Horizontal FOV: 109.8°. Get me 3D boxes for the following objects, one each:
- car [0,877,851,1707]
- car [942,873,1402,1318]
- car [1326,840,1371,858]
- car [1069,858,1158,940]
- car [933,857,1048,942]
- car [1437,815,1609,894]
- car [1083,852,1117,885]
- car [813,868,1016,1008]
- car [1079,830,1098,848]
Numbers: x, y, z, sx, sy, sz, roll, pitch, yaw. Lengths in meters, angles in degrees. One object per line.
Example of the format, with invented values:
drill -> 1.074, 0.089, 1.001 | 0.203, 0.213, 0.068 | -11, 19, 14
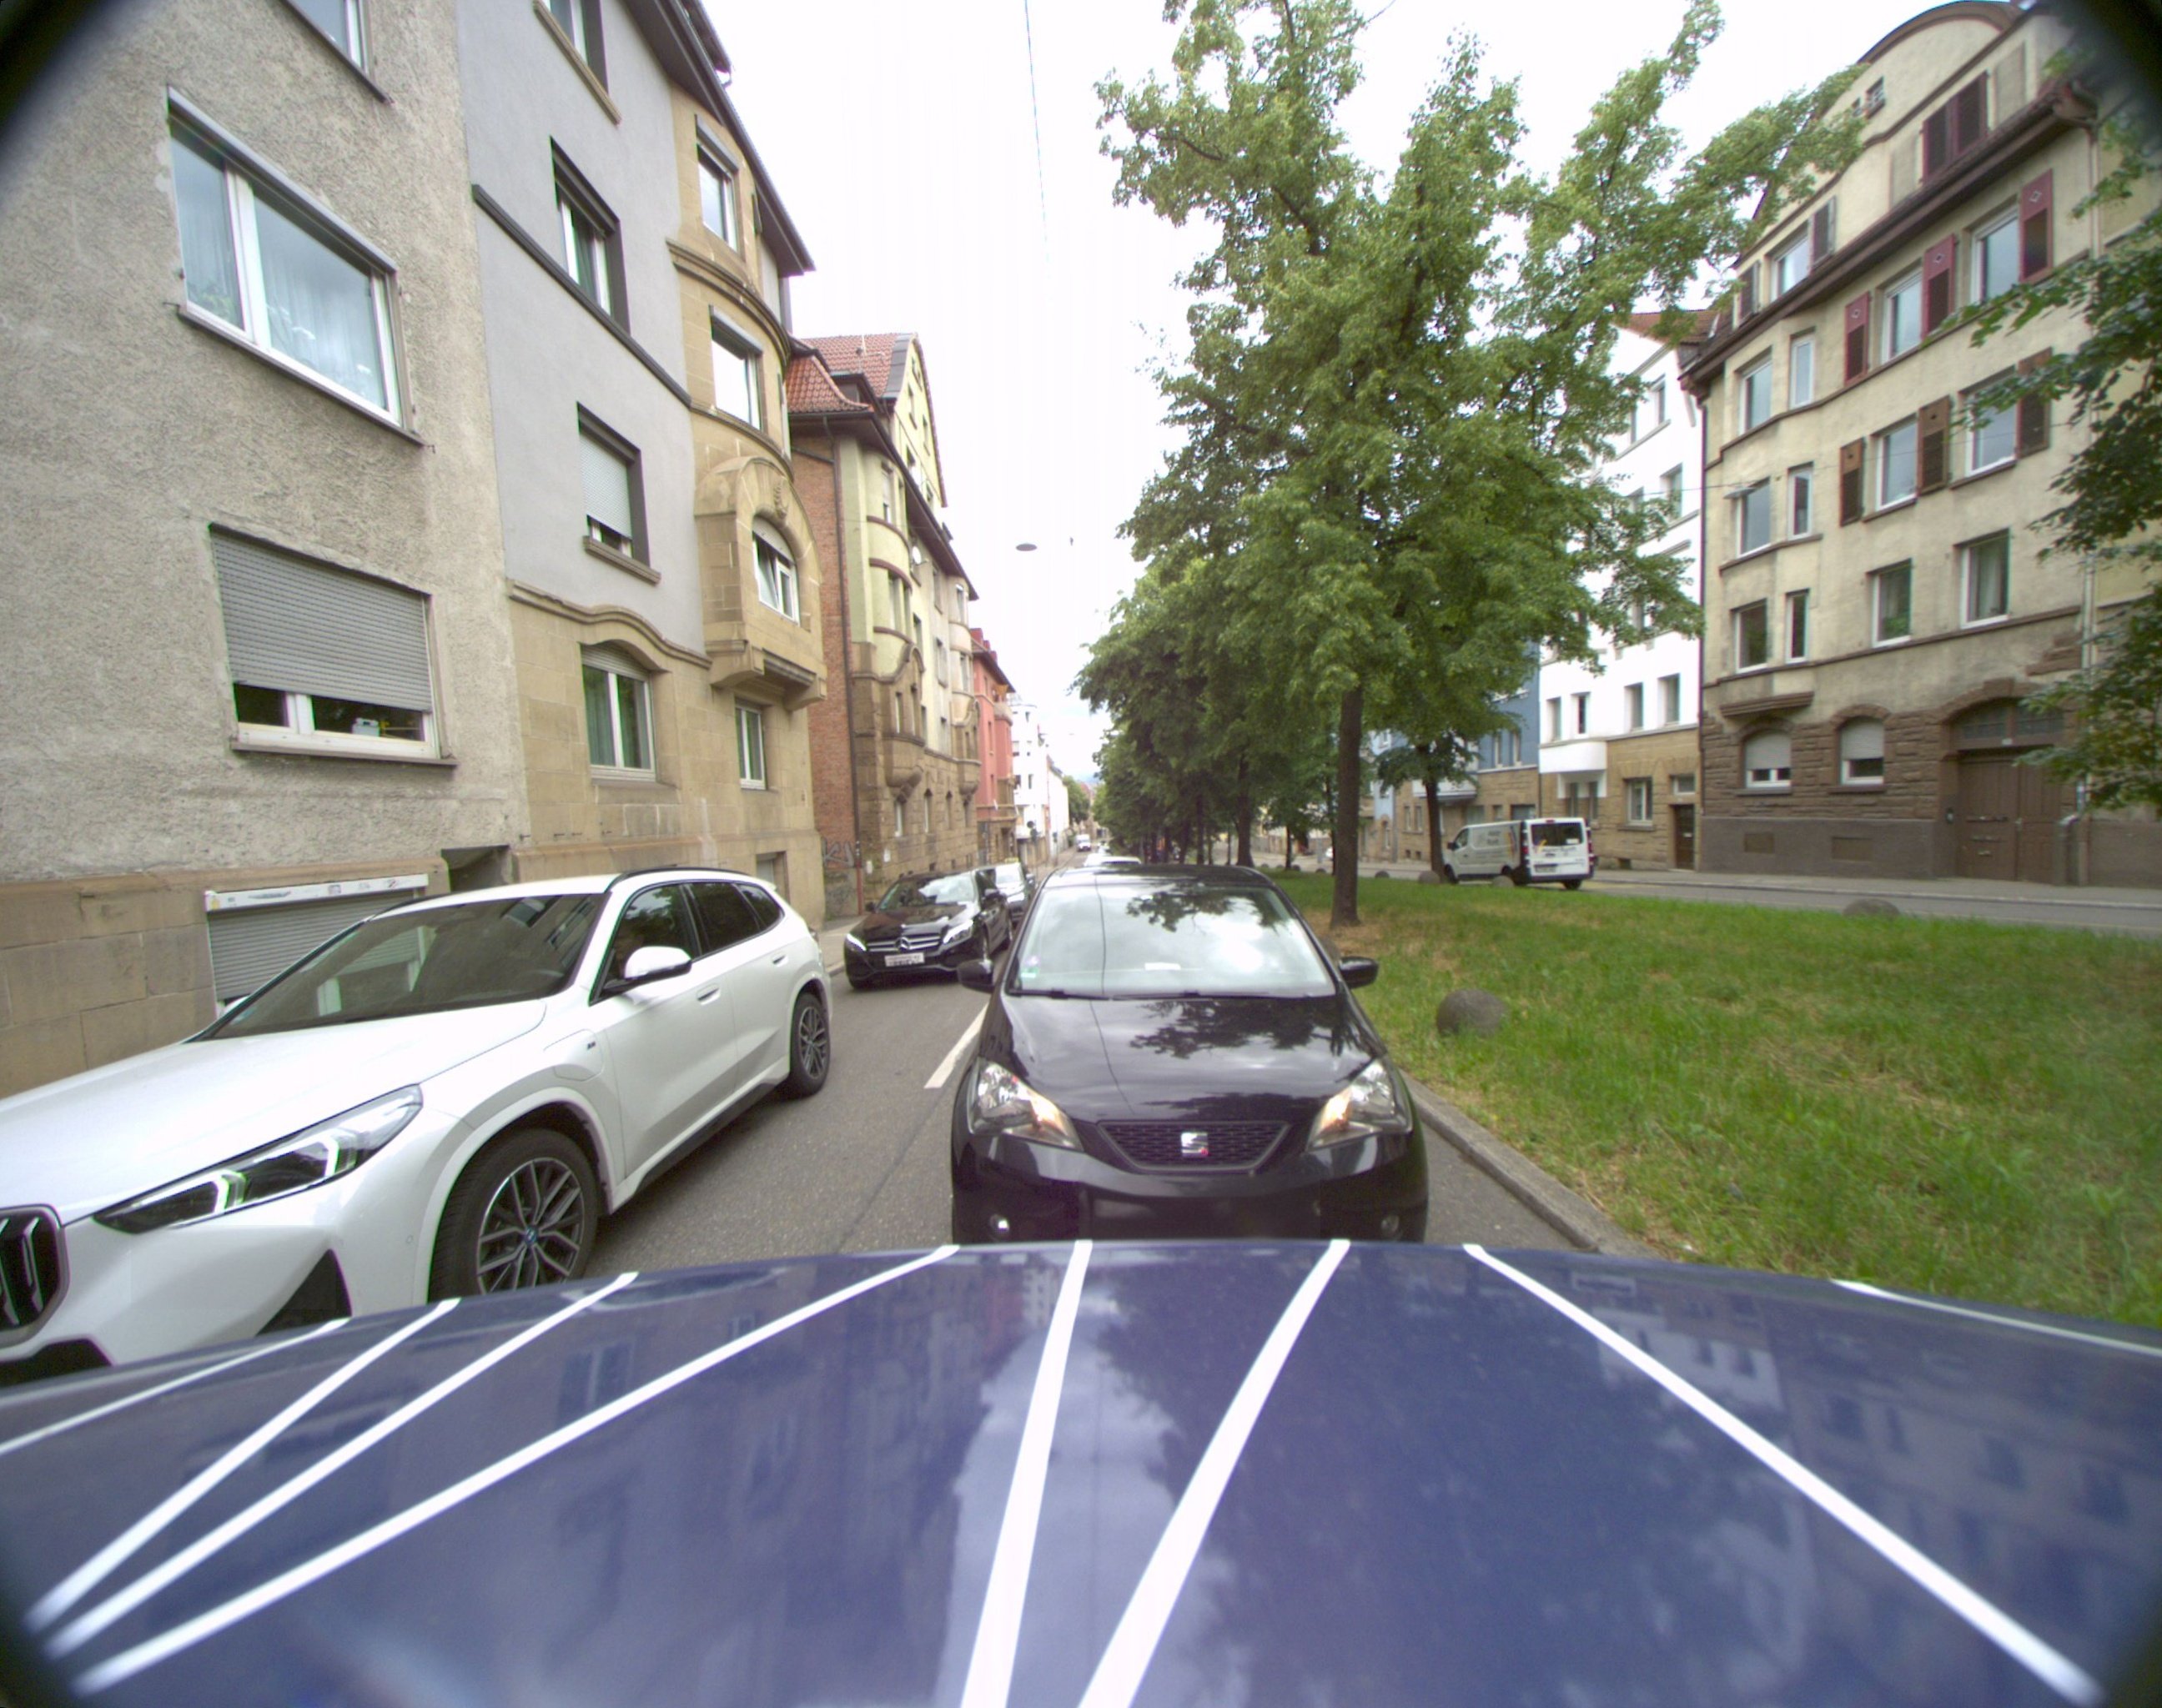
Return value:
car -> -2.800, 1.073, 3.716 | 1.859, 1.547, 4.350 | -6, 1, 0
car -> 0.344, 0.899, 4.329 | 1.611, 1.457, 3.296 | 0, 1, 1
car -> 22.199, -0.441, 63.104 | 3.291, 1.323, 1.672 | -2, 1, 10
car -> 0.644, 0.883, 16.444 | 1.664, 1.456, 3.580 | -2, 1, 1
car -> -1.979, 0.960, 17.991 | 1.936, 1.506, 4.303 | -6, 1, 2
car -> 12.562, 0.017, 22.118 | 1.998, 1.933, 5.307 | -3, 0, 2
car -> 0.937, 0.677, 38.359 | 1.607, 1.492, 3.737 | -2, 1, 1
car -> -2.177, 1.048, 11.220 | 1.884, 1.369, 4.205 | -6, 1, 1
car -> 1.279, -2.558, 129.234 | 2.715, 2.879, 6.454 | -2, 1, 5
